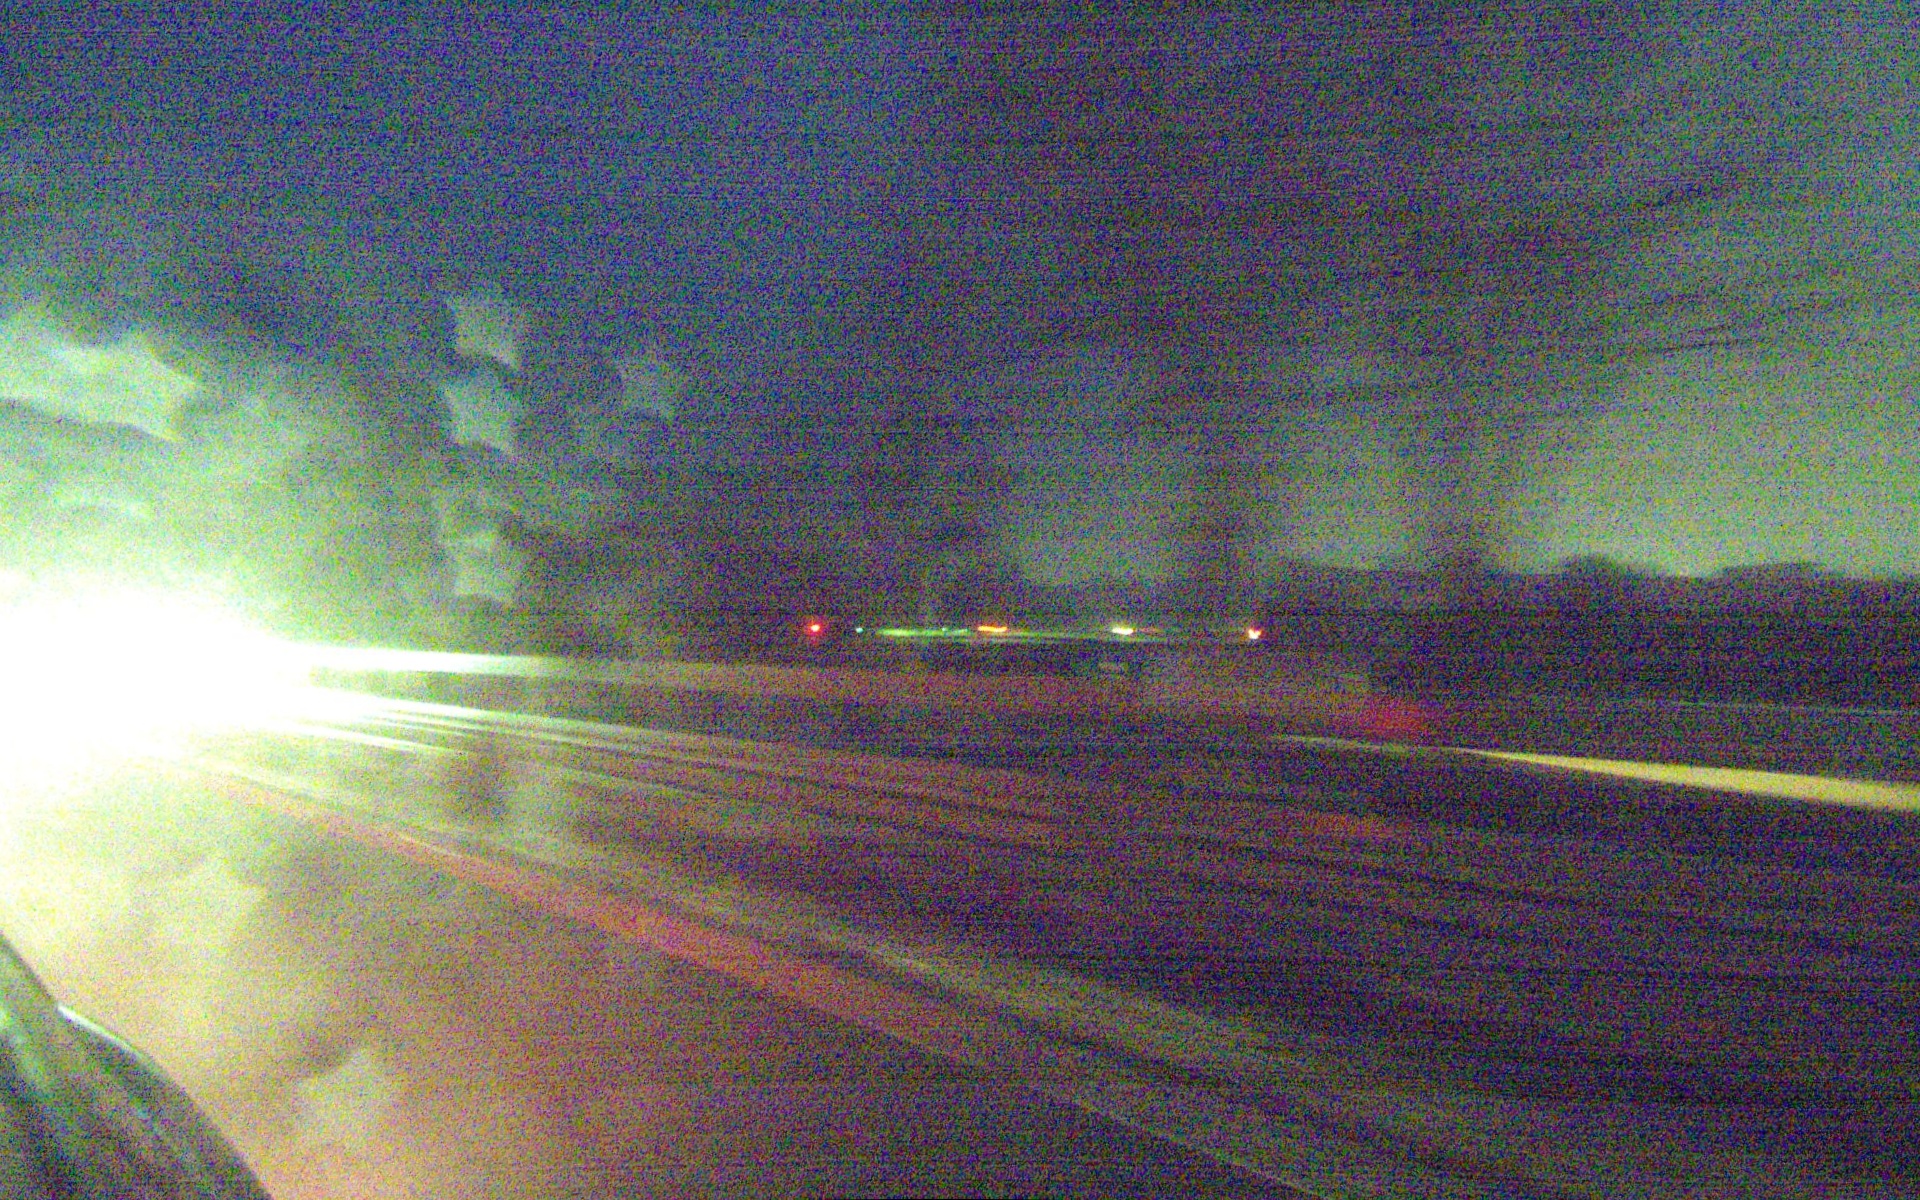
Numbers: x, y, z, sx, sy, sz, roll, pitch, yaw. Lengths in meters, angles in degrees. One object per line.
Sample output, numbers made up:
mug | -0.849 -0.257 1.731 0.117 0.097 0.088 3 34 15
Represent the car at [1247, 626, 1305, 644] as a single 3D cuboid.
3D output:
car | 29.057 3.206 93.150 4.775 1.627 1.942 1 0 -12
